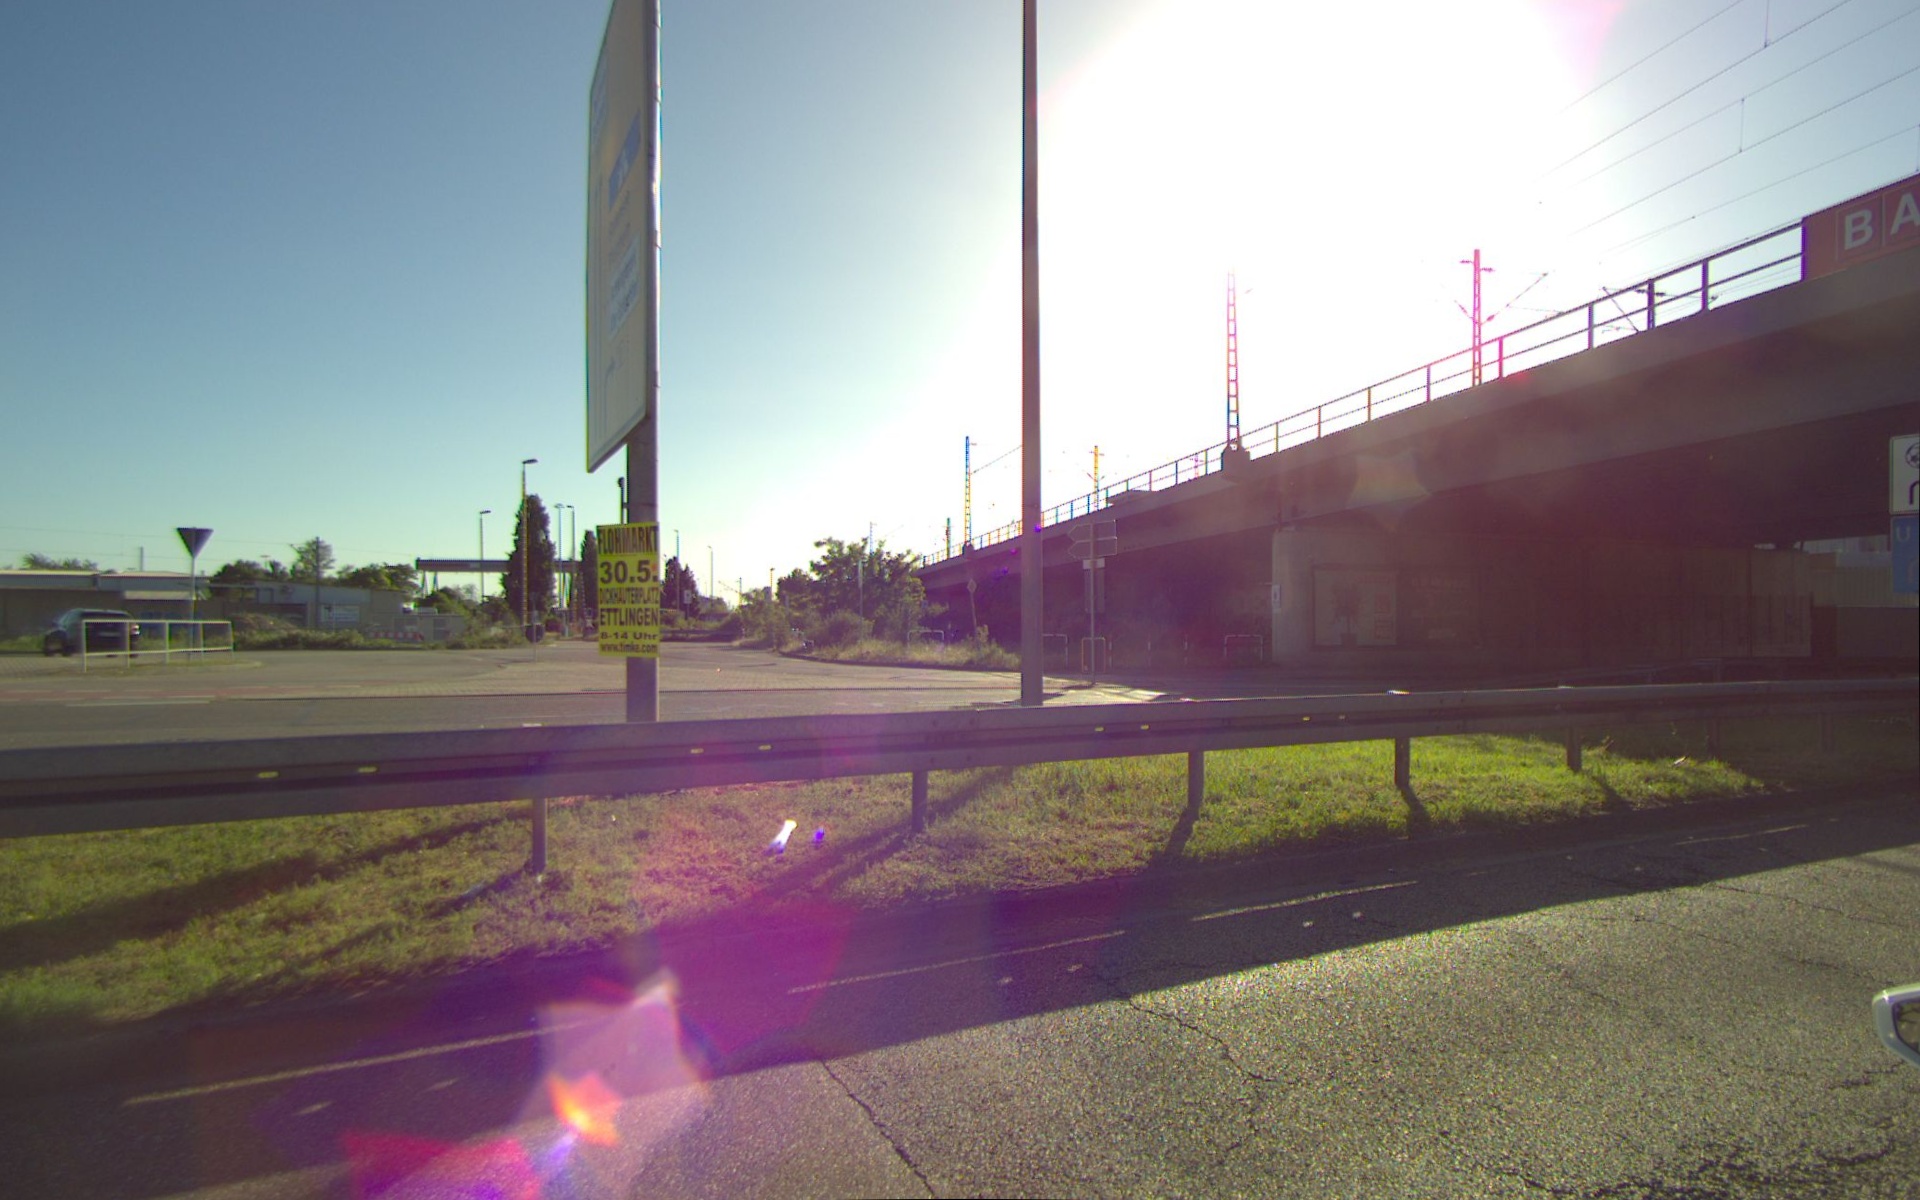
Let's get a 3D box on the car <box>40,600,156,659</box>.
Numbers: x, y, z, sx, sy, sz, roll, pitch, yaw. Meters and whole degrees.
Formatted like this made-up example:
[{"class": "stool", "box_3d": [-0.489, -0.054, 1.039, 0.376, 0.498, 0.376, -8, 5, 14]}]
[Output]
[{"class": "car", "box_3d": [-26.983, 0.987, 31.401, 4.044, 1.737, 1.946, -3, -4, 38]}]
